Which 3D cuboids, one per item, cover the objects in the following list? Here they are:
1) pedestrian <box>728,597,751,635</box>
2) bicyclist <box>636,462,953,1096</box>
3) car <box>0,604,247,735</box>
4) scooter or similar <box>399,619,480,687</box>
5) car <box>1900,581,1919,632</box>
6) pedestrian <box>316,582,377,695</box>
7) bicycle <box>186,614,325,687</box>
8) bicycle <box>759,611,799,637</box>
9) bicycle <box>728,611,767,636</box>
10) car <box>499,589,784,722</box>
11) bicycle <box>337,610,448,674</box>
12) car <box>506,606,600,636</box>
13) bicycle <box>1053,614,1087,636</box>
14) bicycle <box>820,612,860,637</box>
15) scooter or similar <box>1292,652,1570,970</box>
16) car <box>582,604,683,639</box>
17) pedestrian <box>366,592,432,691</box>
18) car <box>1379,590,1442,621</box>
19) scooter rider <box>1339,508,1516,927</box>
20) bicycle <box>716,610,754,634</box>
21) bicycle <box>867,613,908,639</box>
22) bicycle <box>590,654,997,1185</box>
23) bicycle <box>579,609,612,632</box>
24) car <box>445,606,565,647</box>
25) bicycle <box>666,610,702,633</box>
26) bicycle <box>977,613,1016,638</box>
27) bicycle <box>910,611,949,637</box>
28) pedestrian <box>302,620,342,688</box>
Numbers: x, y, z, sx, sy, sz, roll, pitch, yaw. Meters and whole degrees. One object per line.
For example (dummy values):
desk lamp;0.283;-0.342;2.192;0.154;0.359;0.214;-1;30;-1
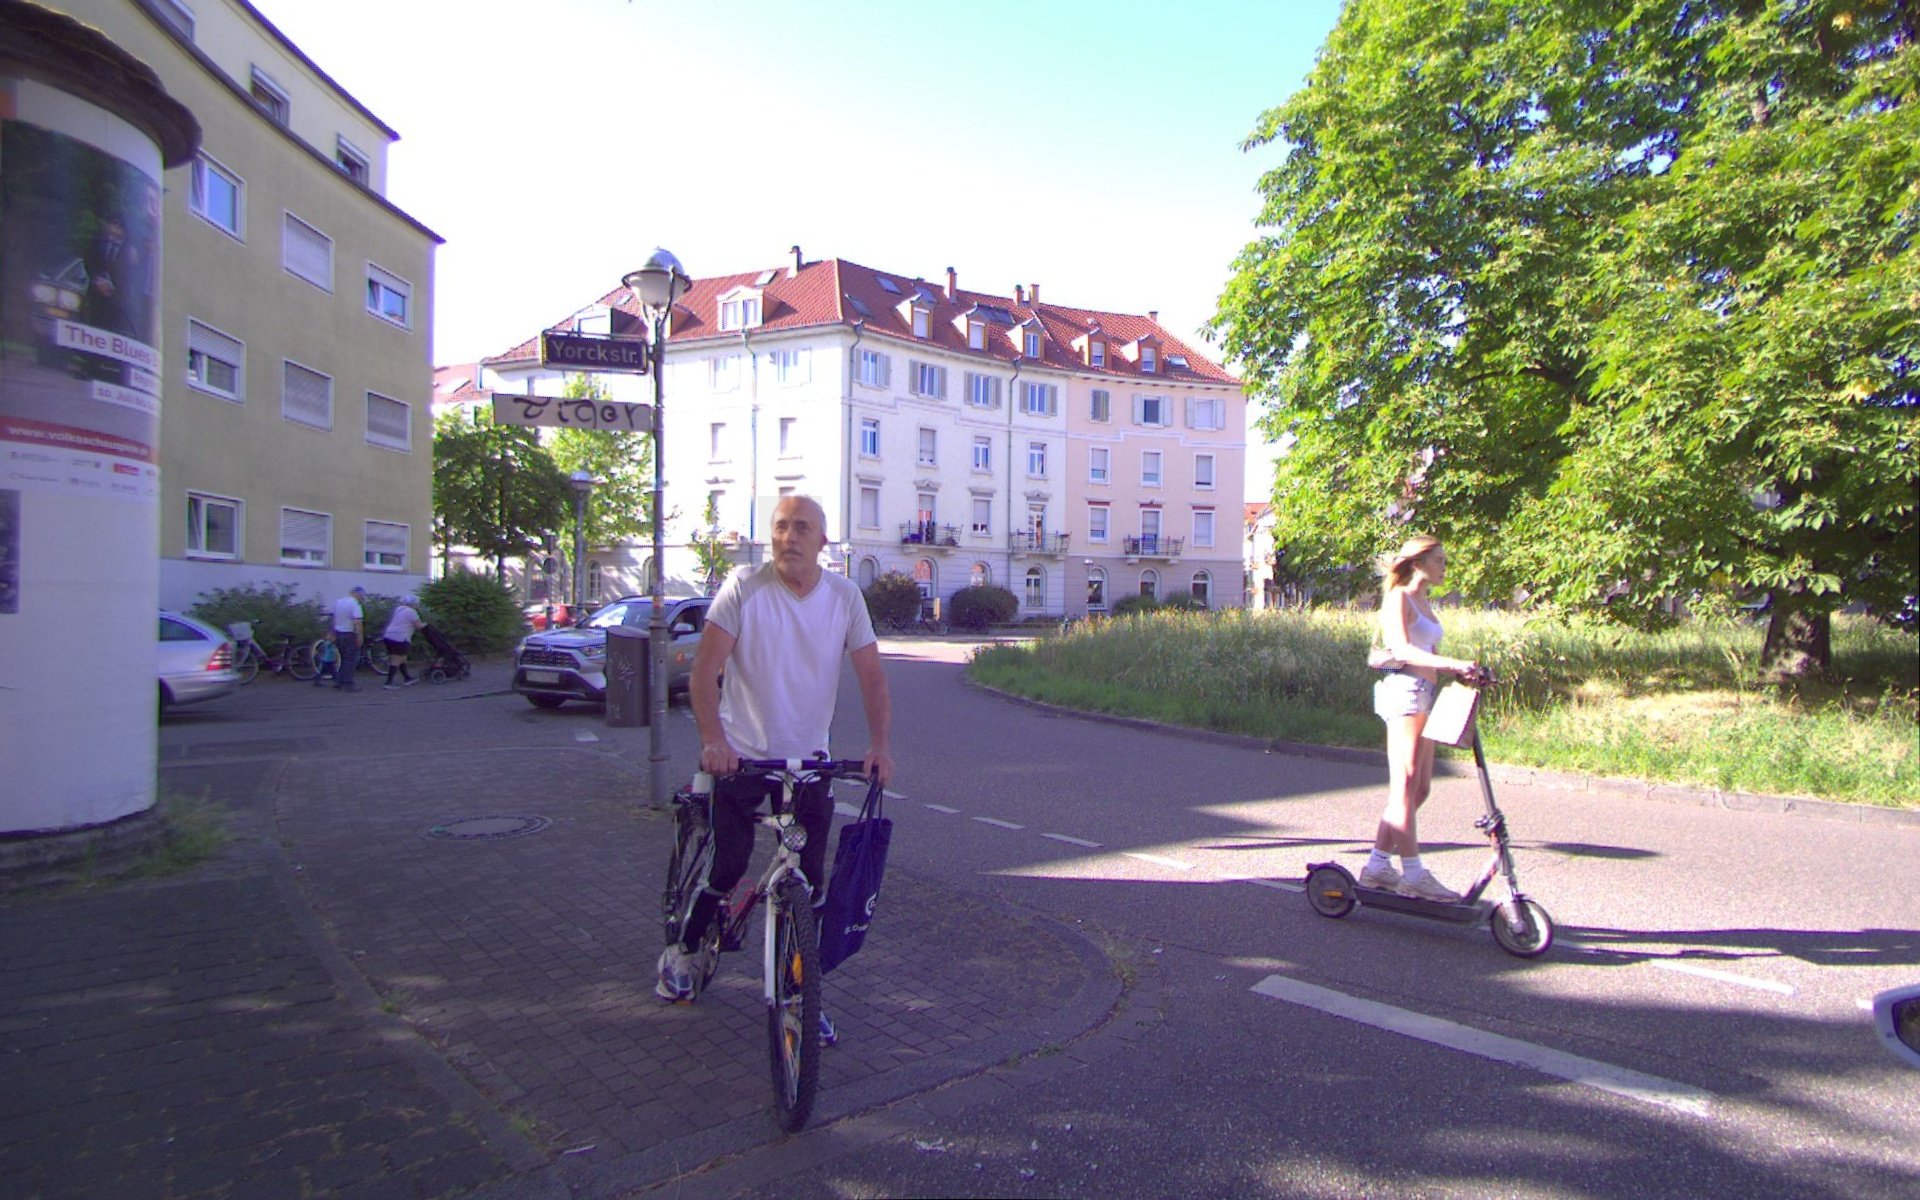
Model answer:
pedestrian;-10.021;0.734;45.612;0.731;1.683;0.774;0;0;20
bicyclist;-0.561;0.489;3.267;0.756;1.718;0.805;1;0;-31
car;-11.059;0.767;11.691;4.449;1.430;1.714;1;0;-38
scooter or similar;-8.988;0.895;17.360;0.902;1.037;0.896;5;3;33
car;50.159;0.364;49.379;2.061;2.635;6.377;1;1;3
pedestrian;-9.676;0.590;15.846;0.545;1.716;0.607;5;3;33
bicycle;-11.445;0.788;16.361;0.493;1.122;1.790;0;0;42
bicycle;-8.383;1.103;46.438;1.765;1.139;0.570;0;0;20
bicycle;-10.060;1.092;47.473;1.765;1.139;0.570;0;0;20
car;-4.613;0.732;15.391;1.698;1.651;4.617;3;0;19
bicycle;-10.435;0.746;18.528;0.491;1.122;1.798;0;0;27
car;-18.131;0.935;44.733;3.647;1.272;1.799;0;0;22
bicycle;5.563;1.271;50.908;1.663;1.103;0.499;1;2;-25
bicycle;-5.507;1.119;46.270;1.770;1.122;0.498;1;0;-16
scooter or similar;2.274;0.931;4.892;1.090;1.300;0.629;0;0;42
car;-14.038;0.907;43.039;3.923;1.431;1.799;0;0;23
pedestrian;-9.256;0.662;16.573;0.639;1.544;0.695;5;3;33
car;28.626;0.364;63.970;2.099;1.934;4.562;1;-1;2
scooter rider;2.276;0.523;4.887;0.622;1.856;0.622;0;0;42
bicycle;-10.933;1.069;48.719;1.765;1.139;0.570;0;0;20
bicycle;-3.355;1.205;46.411;1.772;1.139;0.568;3;-1;-19
bicycle;-0.698;0.847;3.485;0.756;1.214;1.854;1;0;-31
bicycle;-19.054;1.070;52.479;1.767;1.157;0.570;0;0;28
car;-16.978;0.966;37.499;3.921;1.430;1.804;0;0;20
bicycle;-13.750;1.074;50.043;1.765;1.139;0.570;0;0;20
bicycle;1.803;1.252;49.306;1.772;1.139;0.568;3;-1;-19
bicycle;-1.430;1.140;47.273;1.780;1.139;0.566;3;-1;-32
pedestrian;-10.282;0.865;16.197;0.370;1.054;0.405;5;3;33
